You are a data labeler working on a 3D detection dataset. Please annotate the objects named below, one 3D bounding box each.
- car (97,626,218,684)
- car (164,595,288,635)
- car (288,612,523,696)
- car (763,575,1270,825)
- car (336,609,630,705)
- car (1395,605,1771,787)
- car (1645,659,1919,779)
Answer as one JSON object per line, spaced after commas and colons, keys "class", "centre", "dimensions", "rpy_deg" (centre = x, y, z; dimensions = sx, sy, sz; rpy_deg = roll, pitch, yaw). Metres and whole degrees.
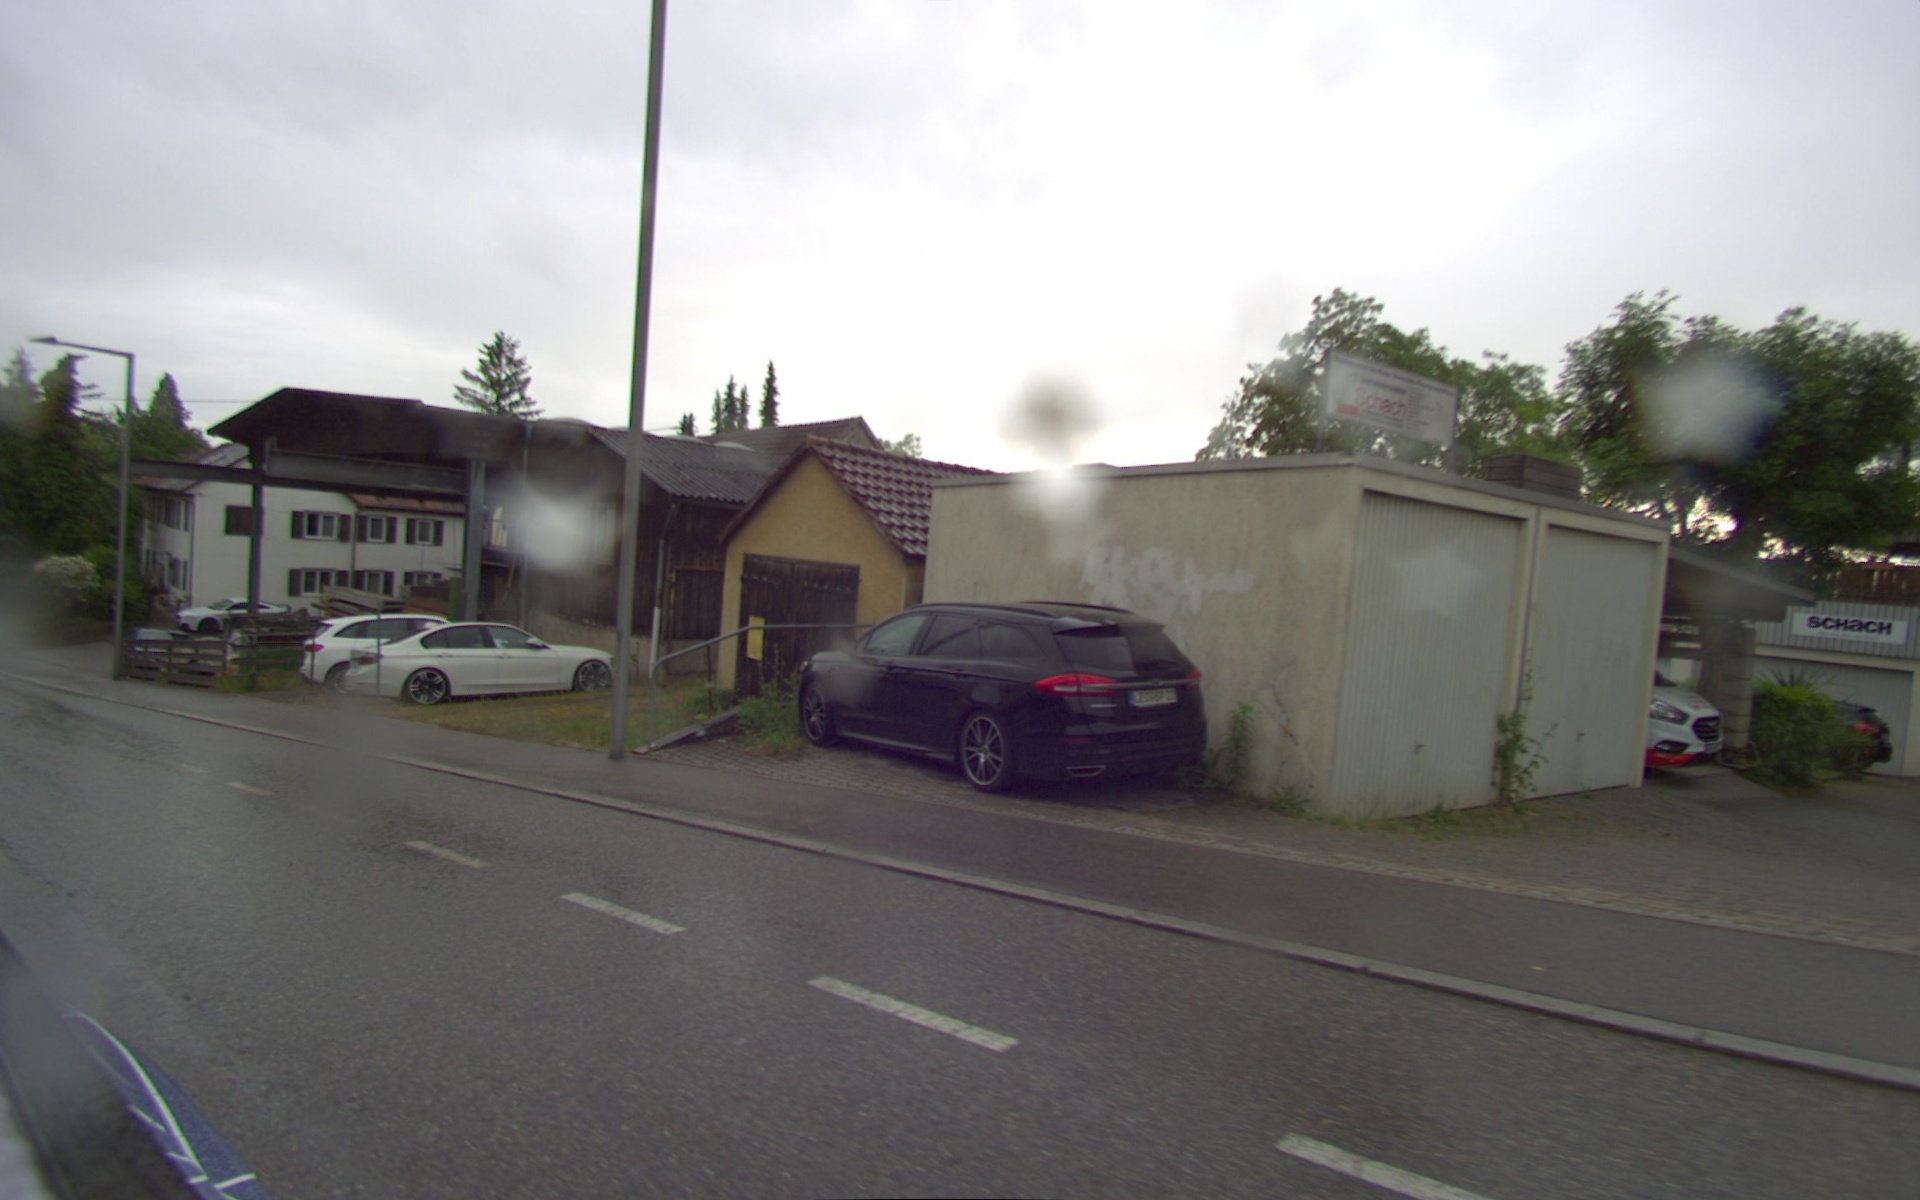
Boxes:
{"class": "car", "centre": [-22.588, 1.518, 28.423], "dimensions": [4.444, 1.452, 1.874], "rpy_deg": [-1, -3, 42]}
{"class": "car", "centre": [-31.149, 0.656, 43.042], "dimensions": [1.803, 1.519, 3.945], "rpy_deg": [3, 0, 41]}
{"class": "car", "centre": [-10.997, 1.031, 20.213], "dimensions": [3.932, 1.516, 1.906], "rpy_deg": [1, -2, -31]}
{"class": "car", "centre": [0.182, 0.720, 9.381], "dimensions": [1.948, 1.672, 4.973], "rpy_deg": [2, -2, -37]}
{"class": "car", "centre": [-8.440, 0.955, 18.098], "dimensions": [4.438, 1.516, 1.904], "rpy_deg": [2, -2, -38]}
{"class": "car", "centre": [8.856, 1.255, 14.696], "dimensions": [1.942, 2.016, 4.119], "rpy_deg": [5, 0, -37]}
{"class": "car", "centre": [16.454, 2.292, 20.266], "dimensions": [1.967, 1.740, 4.010], "rpy_deg": [5, 0, -37]}
